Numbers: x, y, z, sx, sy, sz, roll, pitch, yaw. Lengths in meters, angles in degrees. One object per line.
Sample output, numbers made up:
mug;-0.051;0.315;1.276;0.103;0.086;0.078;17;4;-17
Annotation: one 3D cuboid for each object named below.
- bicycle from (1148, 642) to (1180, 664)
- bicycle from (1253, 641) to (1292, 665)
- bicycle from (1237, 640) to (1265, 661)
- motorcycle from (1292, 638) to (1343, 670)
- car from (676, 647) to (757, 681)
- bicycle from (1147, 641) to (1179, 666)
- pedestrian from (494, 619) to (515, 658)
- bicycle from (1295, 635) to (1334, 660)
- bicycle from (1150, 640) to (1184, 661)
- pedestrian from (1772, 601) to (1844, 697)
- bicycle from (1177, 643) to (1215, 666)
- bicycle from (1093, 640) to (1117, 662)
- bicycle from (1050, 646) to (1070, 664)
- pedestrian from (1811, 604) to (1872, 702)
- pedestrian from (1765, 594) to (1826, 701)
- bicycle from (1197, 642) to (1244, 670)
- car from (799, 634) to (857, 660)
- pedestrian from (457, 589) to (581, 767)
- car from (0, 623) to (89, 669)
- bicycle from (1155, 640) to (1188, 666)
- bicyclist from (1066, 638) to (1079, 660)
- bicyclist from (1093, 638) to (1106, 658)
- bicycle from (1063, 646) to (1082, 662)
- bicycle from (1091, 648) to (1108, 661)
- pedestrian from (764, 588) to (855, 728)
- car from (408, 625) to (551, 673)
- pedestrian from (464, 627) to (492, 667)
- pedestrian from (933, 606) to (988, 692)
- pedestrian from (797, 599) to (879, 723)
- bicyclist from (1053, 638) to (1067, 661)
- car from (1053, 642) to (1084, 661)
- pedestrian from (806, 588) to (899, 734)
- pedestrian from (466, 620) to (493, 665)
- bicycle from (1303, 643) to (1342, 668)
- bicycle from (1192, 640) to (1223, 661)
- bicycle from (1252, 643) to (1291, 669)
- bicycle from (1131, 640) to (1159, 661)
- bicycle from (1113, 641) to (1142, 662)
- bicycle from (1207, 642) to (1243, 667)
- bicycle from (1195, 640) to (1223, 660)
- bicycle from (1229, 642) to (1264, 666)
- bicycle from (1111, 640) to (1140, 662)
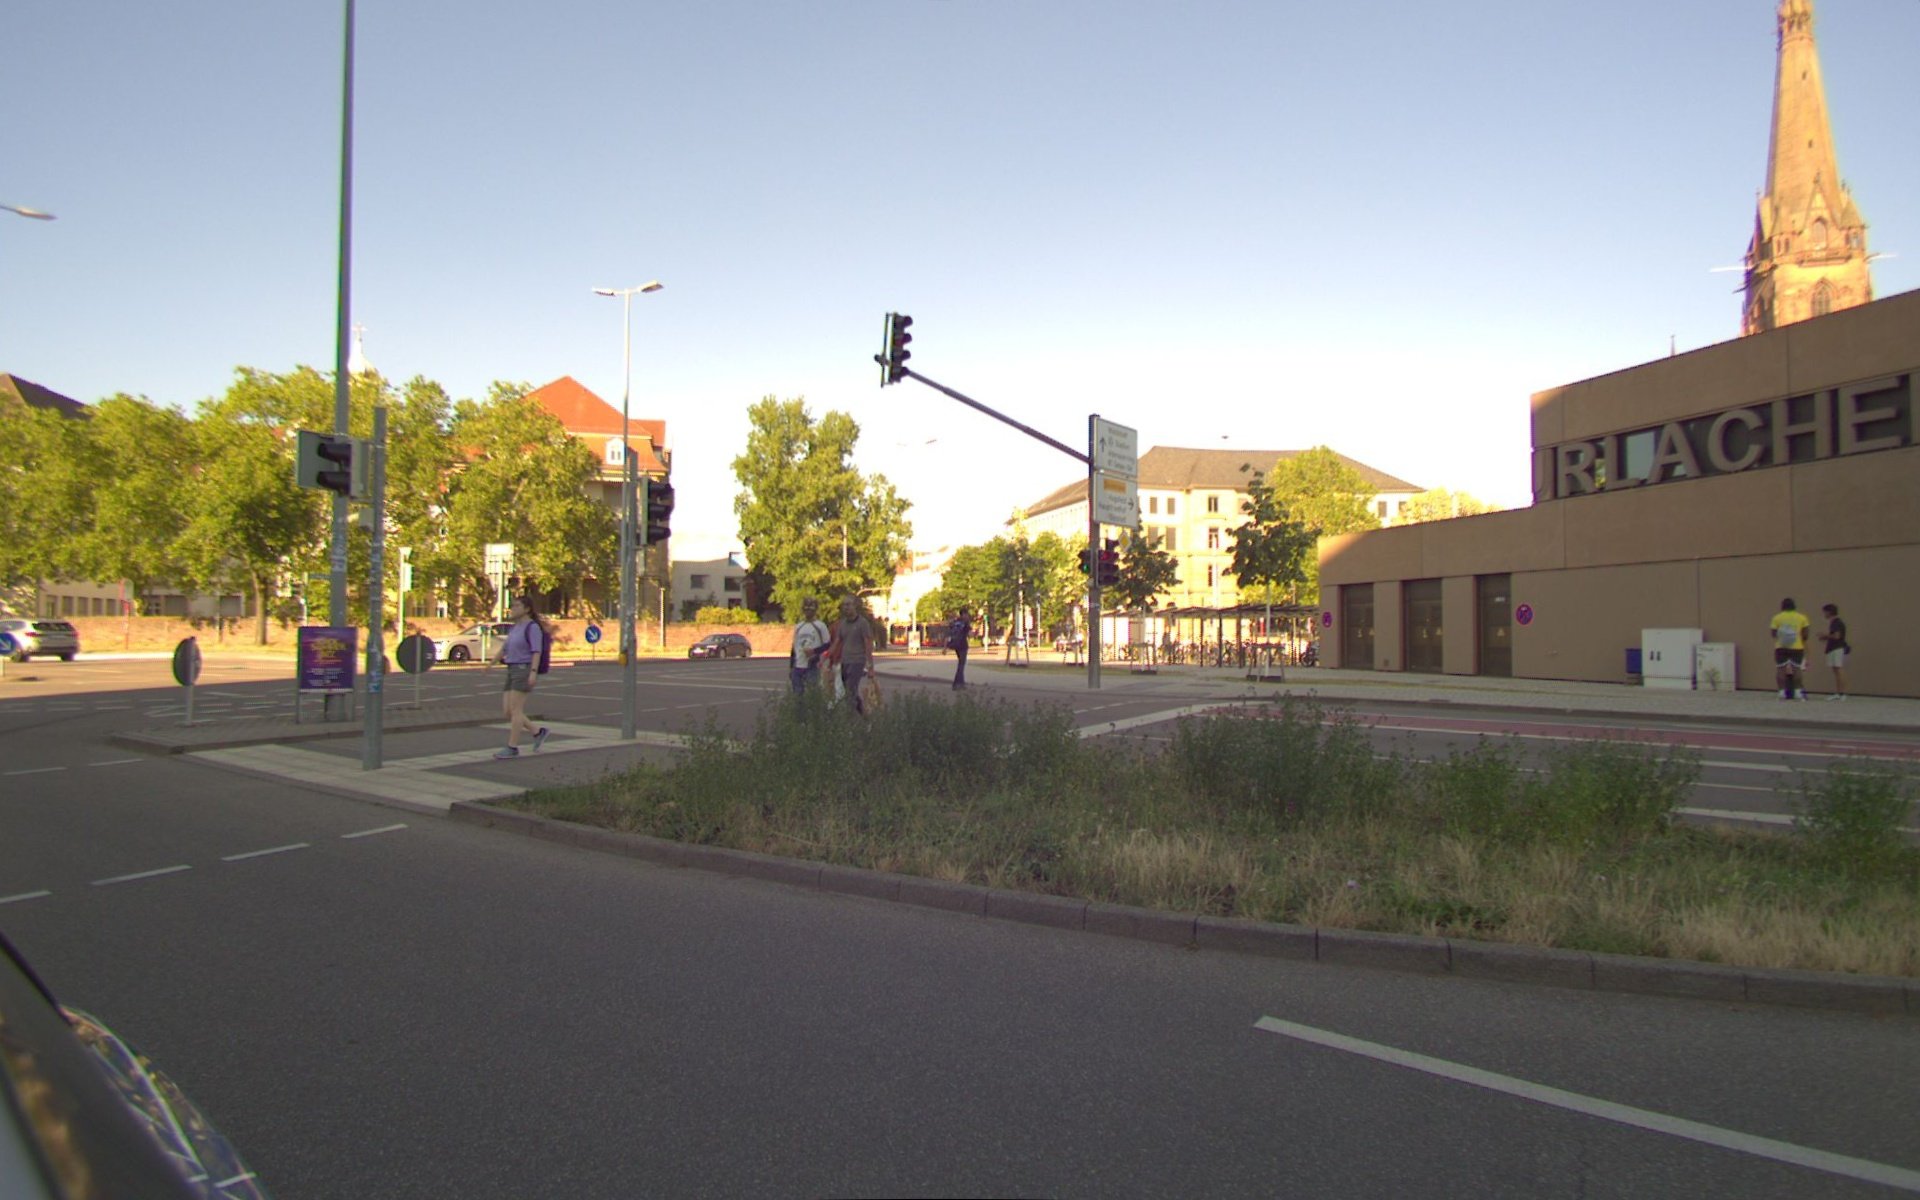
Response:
bicycle;10.472;2.734;52.018;0.745;1.062;1.979;-1;-1;-17
bicycle;14.599;2.462;47.295;0.594;1.051;2.114;-1;-1;-18
bicycle;15.426;2.656;53.739;0.411;1.062;1.979;-1;-1;-16
motorcycle;14.462;2.185;40.995;0.707;1.257;2.363;-1;-3;-15
car;-12.655;3.288;52.850;2.175;1.598;4.583;-3;-3;15
bicycle;9.557;2.495;47.699;0.477;1.114;1.807;-1;-1;-23
pedestrian;-20.288;1.702;45.078;0.779;1.665;0.715;3;0;-26
bicycle;16.830;2.247;48.107;0.557;1.097;2.078;-1;-1;-18
bicycle;11.206;2.746;54.776;0.823;1.062;2.126;-1;-1;-19
pedestrian;15.935;0.915;19.029;0.724;1.744;0.667;-1;-3;-18
bicycle;11.338;2.604;48.643;0.851;1.051;1.938;-1;-1;-19
bicycle;7.591;2.666;53.053;0.558;1.062;1.978;-1;-1;-11
bicycle;7.333;4.018;74.070;0.760;1.196;2.587;-3;-3;21
pedestrian;15.663;0.932;17.995;0.628;1.702;0.552;0;-3;-29
pedestrian;14.820;0.837;17.957;0.707;1.849;0.640;1;-4;-42
bicycle;10.844;2.326;42.210;0.732;1.114;2.131;-1;-3;-20
car;-8.618;3.072;66.416;2.175;1.598;4.583;-3;-3;15
pedestrian;-4.611;0.790;10.607;0.756;1.754;0.916;-1;-3;37
car;-34.932;1.689;37.929;4.345;1.633;2.134;-1;-2;30
bicycle;9.628;2.422;46.169;0.557;1.114;1.979;-1;-1;-17
bicyclist;8.675;3.757;78.014;0.760;1.681;1.054;-3;-3;21
bicyclist;12.005;4.126;86.919;0.861;1.666;0.936;-2;-3;24
bicycle;8.696;4.149;78.012;0.760;1.196;2.587;-3;-3;21
bicycle;11.991;4.647;86.784;0.877;1.106;2.170;-1;-2;24
pedestrian;-1.974;0.742;13.301;0.756;1.754;0.916;-1;-3;37
car;-18.523;1.873;39.218;2.190;1.697;4.552;-4;-3;34
pedestrian;-20.547;2.005;43.168;0.858;1.687;0.714;3;0;-38
pedestrian;0.010;0.994;20.706;0.747;1.698;0.888;-2;-3;37
pedestrian;-1.799;0.887;14.977;0.786;1.754;0.916;-1;-3;37
bicyclist;7.320;3.610;74.088;0.760;1.681;1.054;-3;-3;21
car;9.345;4.427;87.099;1.792;1.455;3.953;-1;-1;19
pedestrian;-1.347;0.751;12.758;0.756;1.754;0.916;-1;-3;37
pedestrian;-20.835;1.849;43.871;0.858;1.908;0.714;3;0;-38
bicycle;15.661;2.388;43.754;0.514;1.051;1.938;-1;-1;-18
bicycle;12.967;2.631;53.141;0.557;1.062;1.979;-1;-1;-19
bicycle;13.316;2.369;43.287;0.514;1.051;1.854;-1;-1;-22
bicycle;9.838;2.697;53.926;0.671;1.062;1.942;-1;-1;-16
bicycle;8.895;2.726;53.744;0.671;1.062;2.028;-1;-1;-16
bicycle;12.157;2.486;46.457;0.594;1.051;2.040;-1;-1;-16
bicycle;13.833;2.751;56.305;0.489;1.062;1.980;-1;-1;-20
bicycle;13.216;2.481;46.750;0.594;1.051;2.039;-1;-1;-13
bicycle;8.426;2.601;51.525;0.557;1.062;1.979;-1;-1;-19
